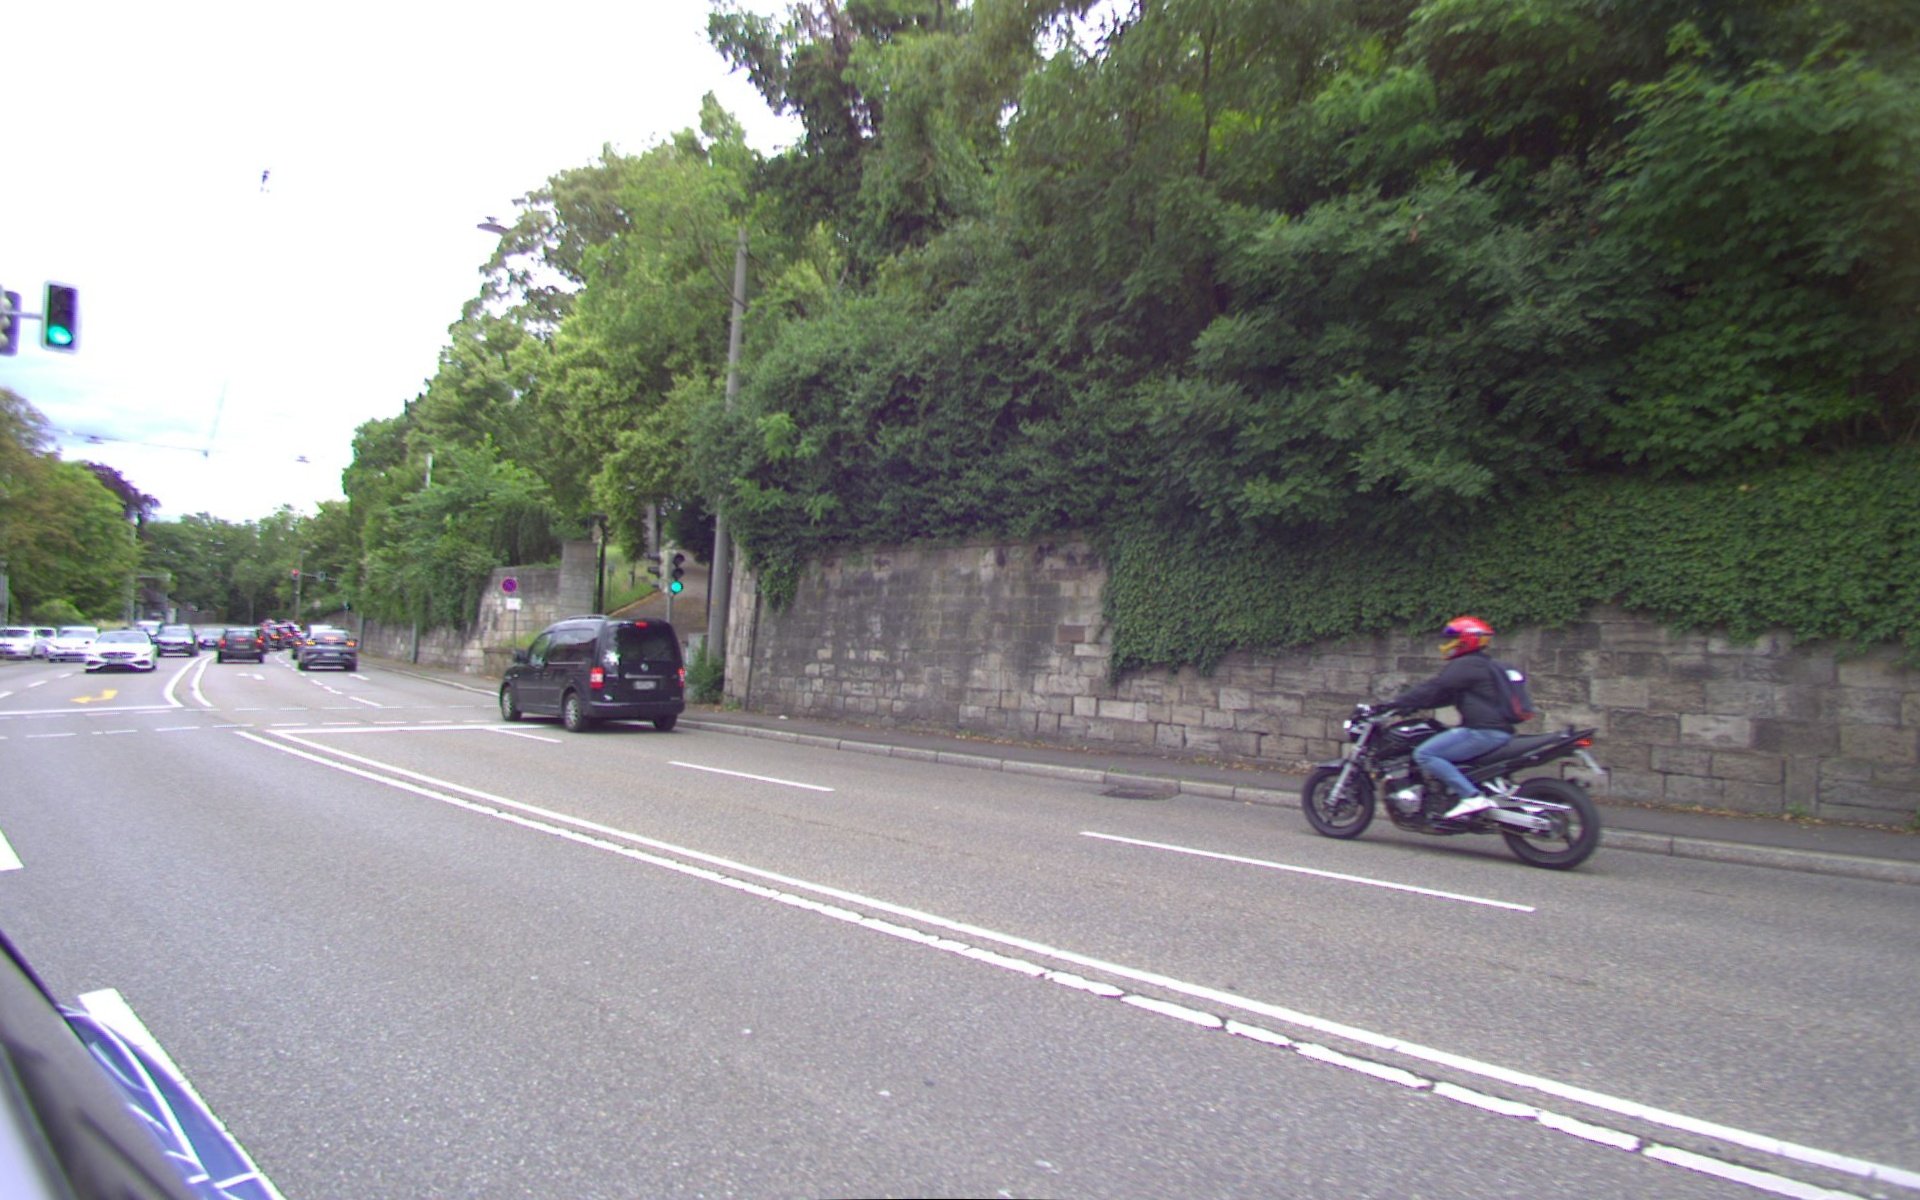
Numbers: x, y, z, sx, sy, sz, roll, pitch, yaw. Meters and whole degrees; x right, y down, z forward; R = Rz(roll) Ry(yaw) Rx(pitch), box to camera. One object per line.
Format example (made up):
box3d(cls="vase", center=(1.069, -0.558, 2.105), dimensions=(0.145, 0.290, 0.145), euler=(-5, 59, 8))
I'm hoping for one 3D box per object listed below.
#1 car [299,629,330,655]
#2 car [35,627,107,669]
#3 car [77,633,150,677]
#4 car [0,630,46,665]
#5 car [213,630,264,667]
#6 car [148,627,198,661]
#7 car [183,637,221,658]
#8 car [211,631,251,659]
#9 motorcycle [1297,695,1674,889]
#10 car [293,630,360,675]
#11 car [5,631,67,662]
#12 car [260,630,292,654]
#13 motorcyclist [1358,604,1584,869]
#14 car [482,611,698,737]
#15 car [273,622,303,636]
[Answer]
box3d(cls="car", center=(-49.783, 3.232, 78.101), dimensions=(1.867, 1.862, 4.409), euler=(4, -4, -32))
box3d(cls="car", center=(-40.006, 2.164, 45.619), dimensions=(1.927, 1.785, 4.010), euler=(3, -3, -35))
box3d(cls="car", center=(-28.636, 1.855, 34.289), dimensions=(1.775, 1.401, 3.533), euler=(4, -4, -39))
box3d(cls="car", center=(-43.182, 2.138, 46.112), dimensions=(1.653, 1.472, 4.376), euler=(5, -4, -35))
box3d(cls="car", center=(-32.943, 2.197, 46.235), dimensions=(1.731, 1.578, 3.688), euler=(4, -4, -35))
box3d(cls="car", center=(-42.270, 2.339, 54.330), dimensions=(1.928, 1.753, 4.007), euler=(3, -3, -39))
box3d(cls="car", center=(-52.330, 3.240, 69.888), dimensions=(1.805, 1.387, 4.011), euler=(3, -3, -33))
box3d(cls="car", center=(-45.208, 2.779, 62.809), dimensions=(1.824, 1.645, 4.372), euler=(2, -3, -34))
box3d(cls="motorcycle", center=(3.662, 1.276, 7.248), dimensions=(2.306, 1.082, 0.643), euler=(-2, -5, 41))
box3d(cls="car", center=(-24.830, 2.047, 39.578), dimensions=(1.966, 1.620, 4.488), euler=(5, -5, -34))
box3d(cls="car", center=(-46.601, 2.342, 51.112), dimensions=(1.692, 1.483, 4.048), euler=(3, -4, -35))
box3d(cls="car", center=(-52.360, 3.248, 77.549), dimensions=(1.933, 1.763, 4.891), euler=(3, -3, -33))
box3d(cls="motorcyclist", center=(3.653, 0.921, 7.292), dimensions=(1.337, 1.718, 0.642), euler=(-2, -5, 41))
box3d(cls="car", center=(-6.336, 1.209, 17.077), dimensions=(1.723, 1.860, 4.251), euler=(6, -6, -45))
box3d(cls="car", center=(-73.615, 3.151, 110.807), dimensions=(1.821, 1.420, 4.458), euler=(5, -4, -45))
